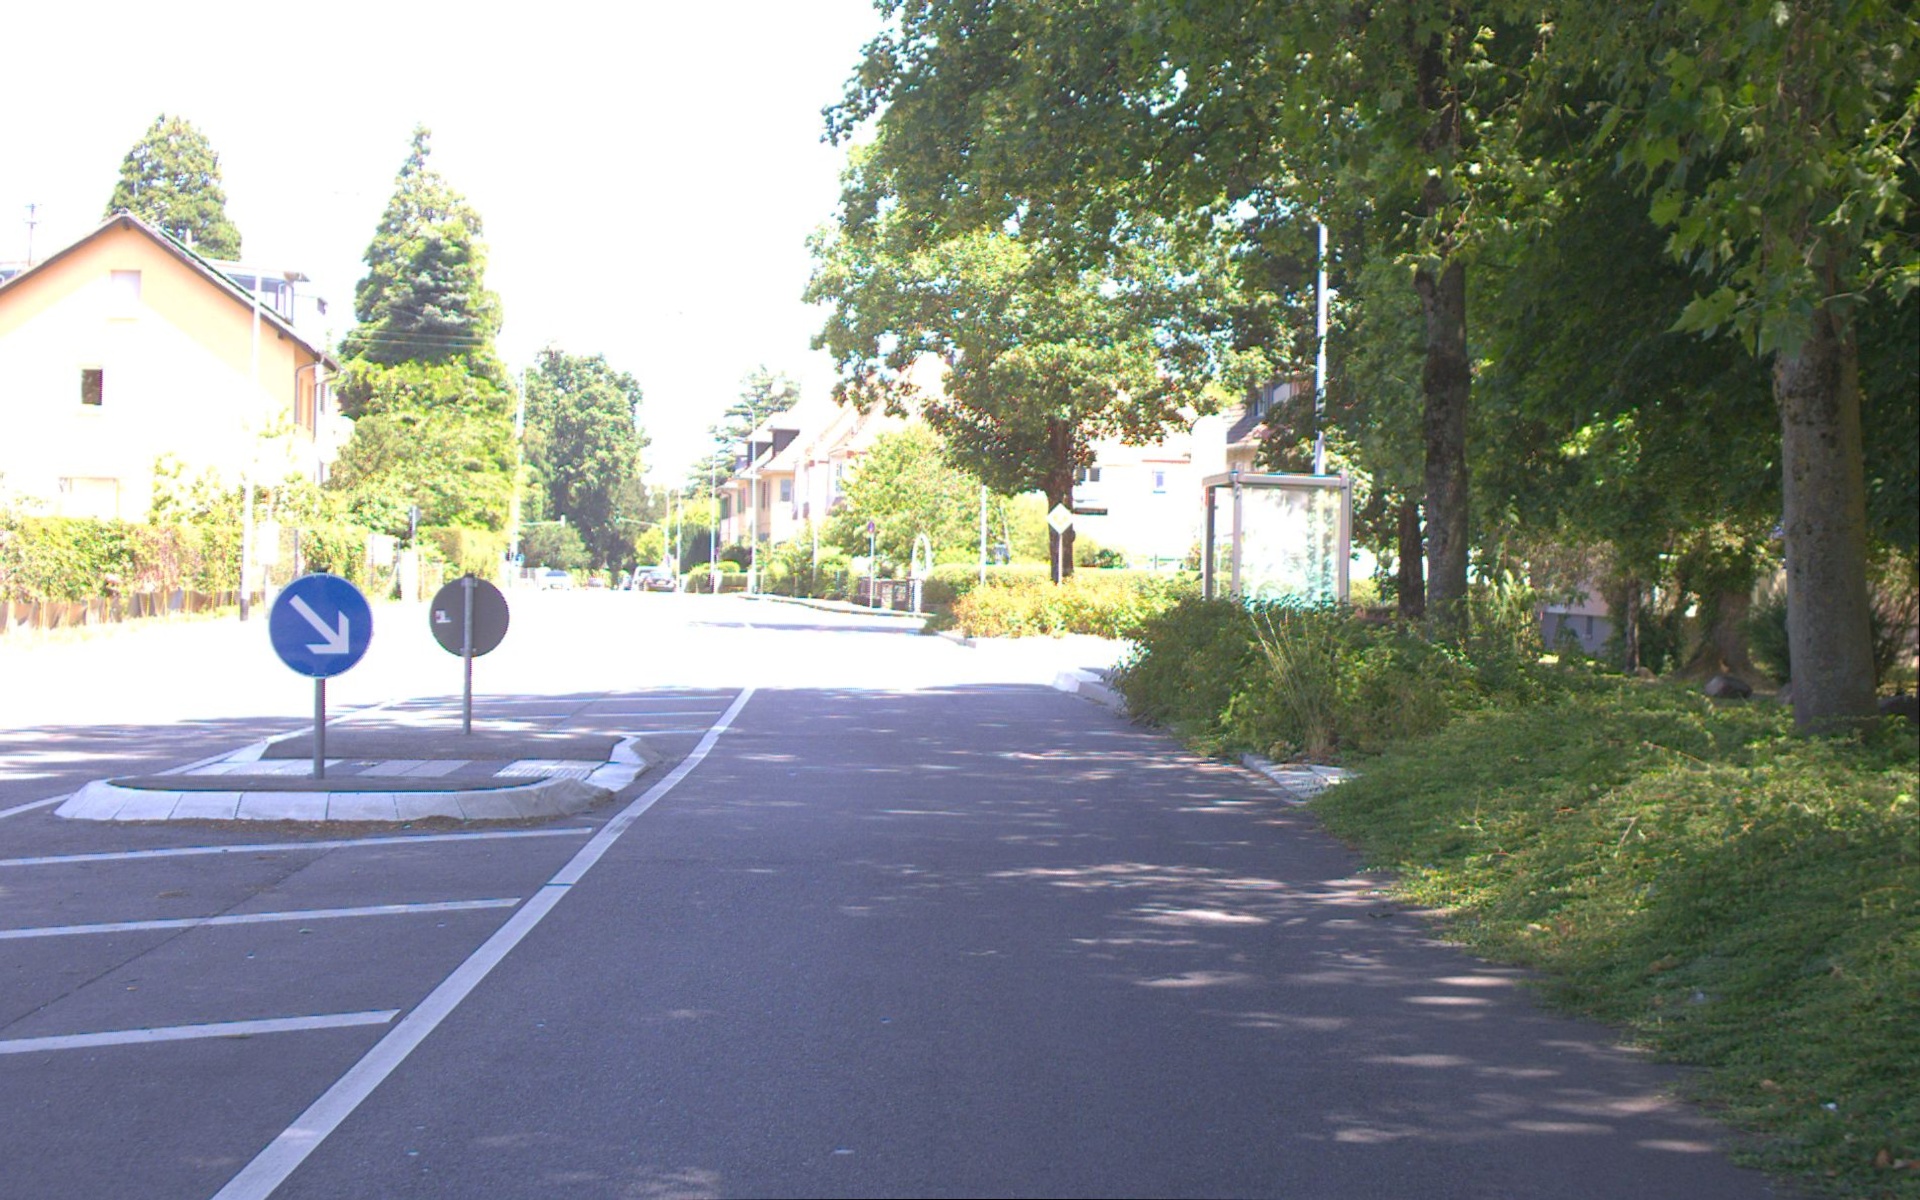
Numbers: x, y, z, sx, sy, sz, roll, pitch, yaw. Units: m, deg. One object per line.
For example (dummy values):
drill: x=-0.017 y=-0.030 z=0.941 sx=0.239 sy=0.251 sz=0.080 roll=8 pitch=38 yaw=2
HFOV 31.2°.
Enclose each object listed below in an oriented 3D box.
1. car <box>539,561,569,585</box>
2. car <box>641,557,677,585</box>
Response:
car: x=-24.097 y=-1.606 z=204.106 sx=1.680 sy=1.368 sz=4.207 roll=0 pitch=1 yaw=-6
car: x=-17.073 y=-1.638 z=194.732 sx=1.692 sy=1.414 sz=4.552 roll=2 pitch=-1 yaw=-8
